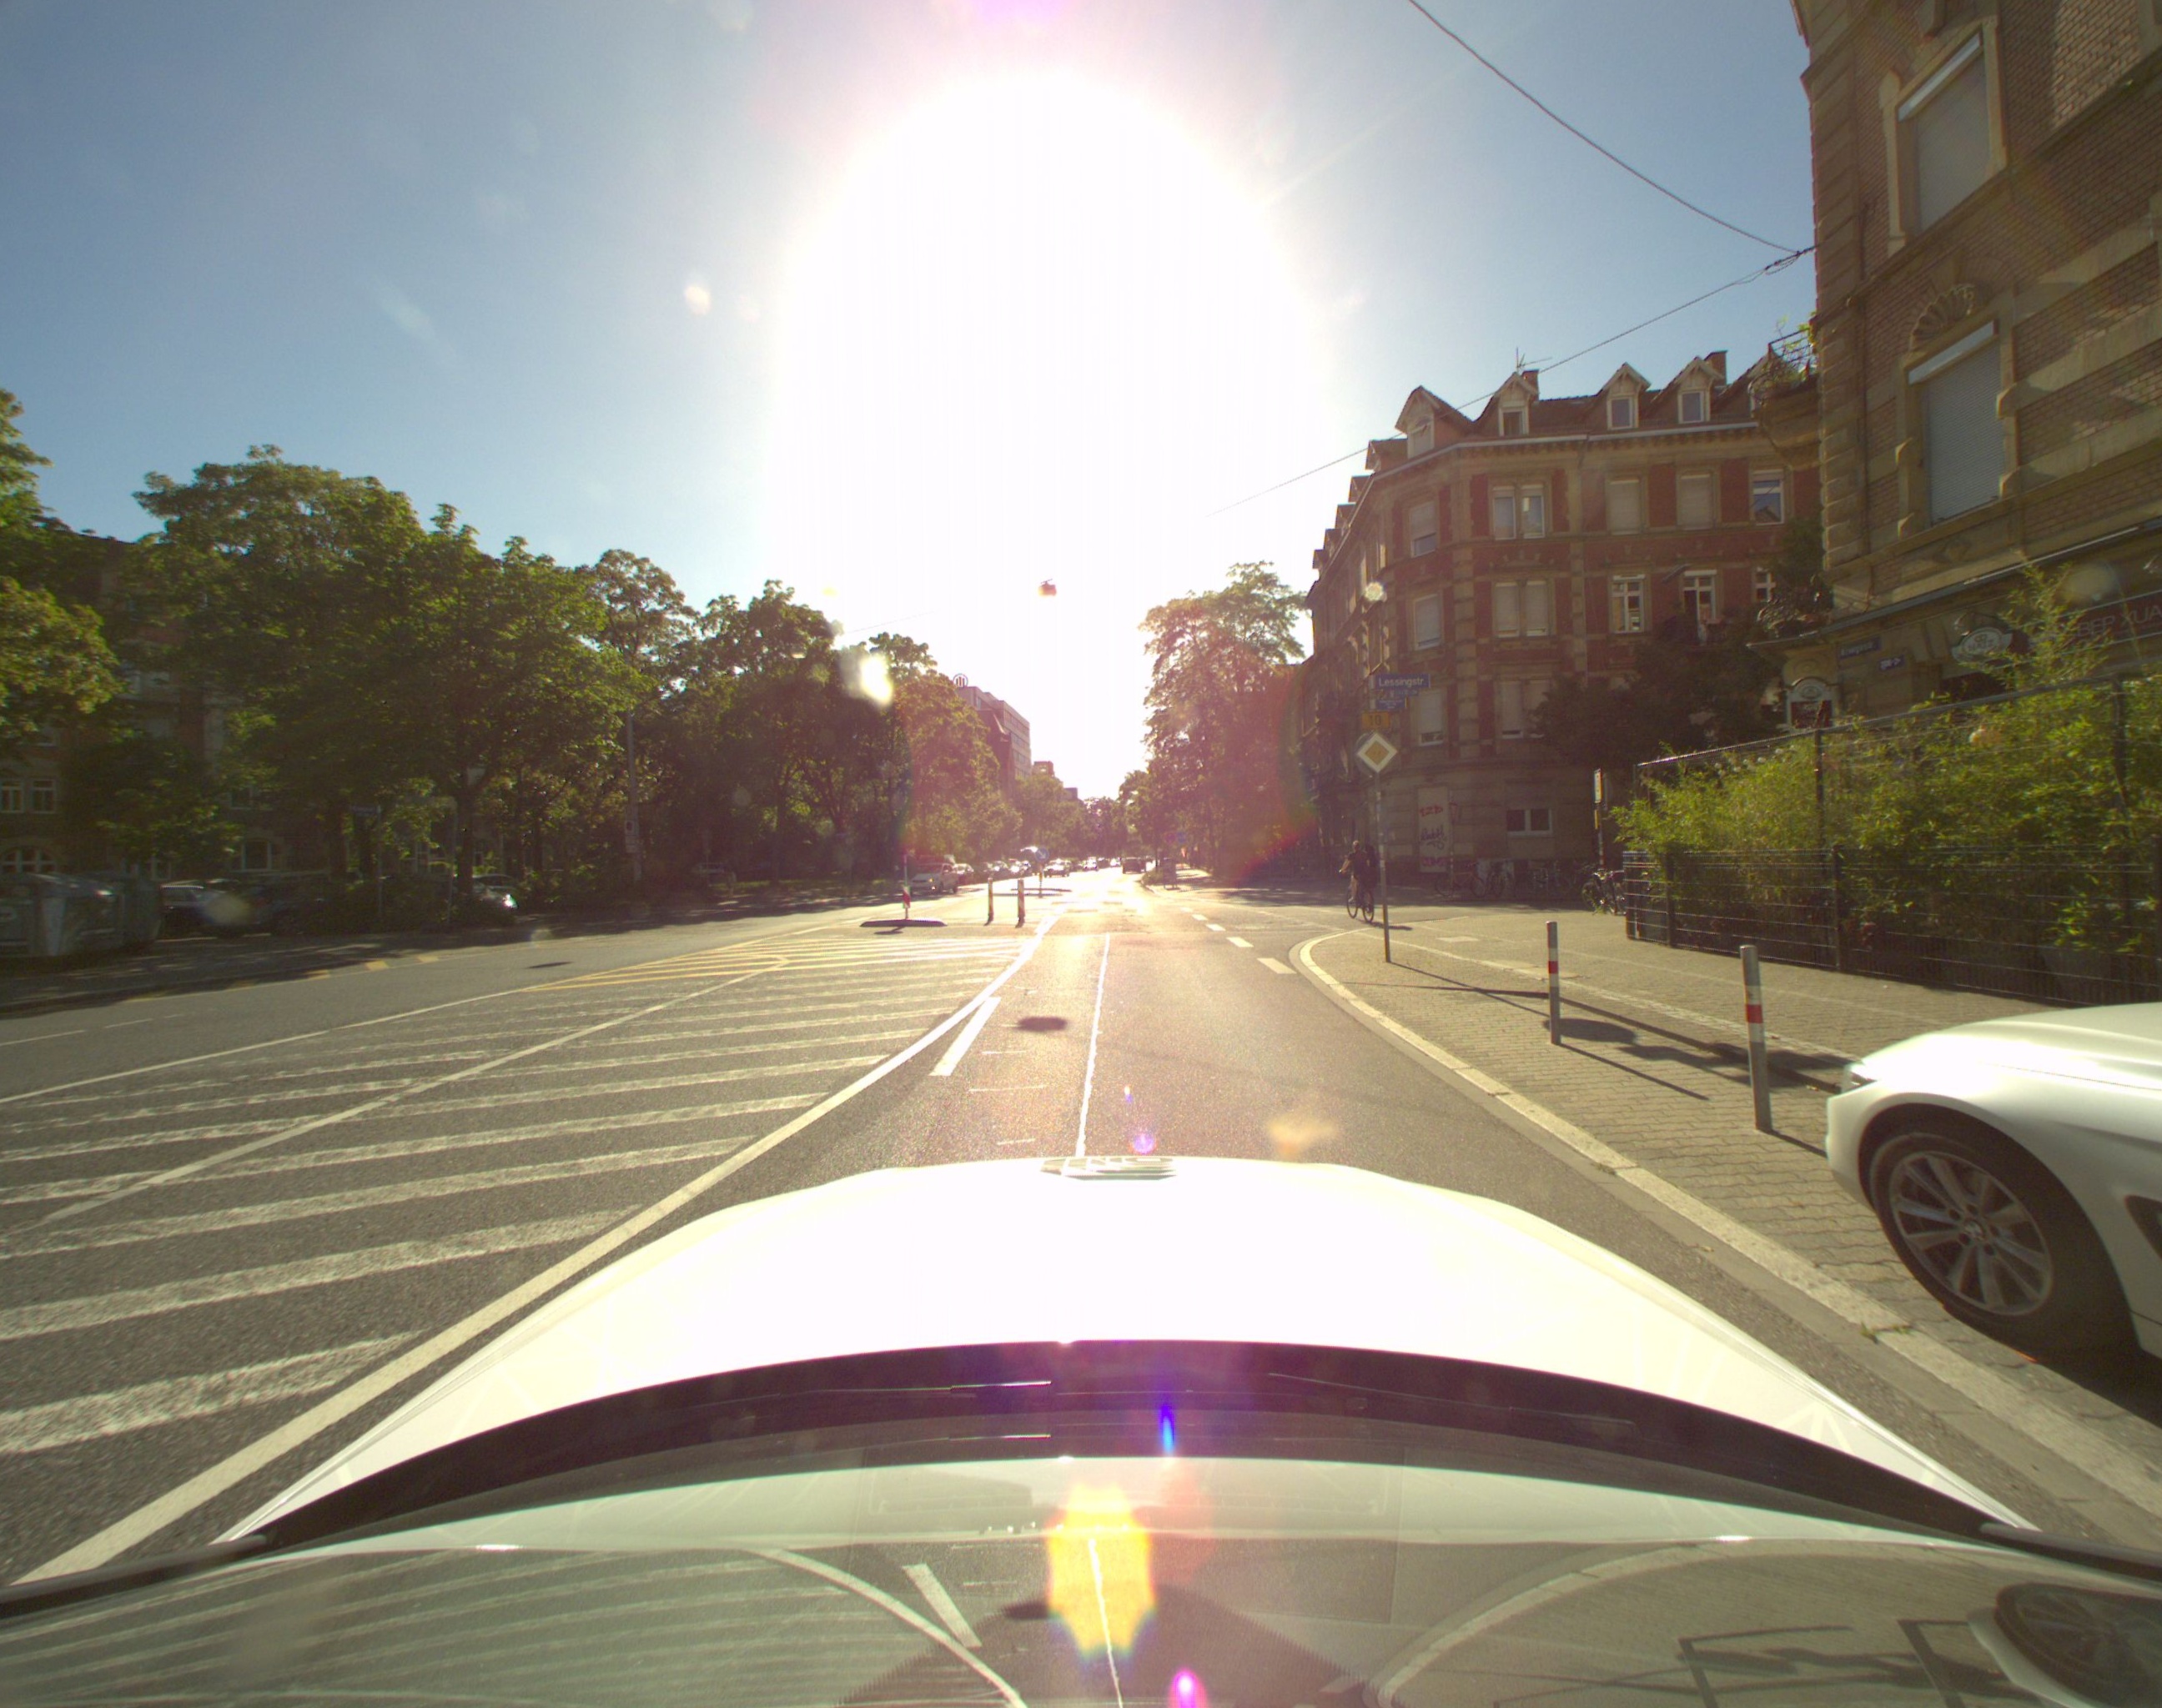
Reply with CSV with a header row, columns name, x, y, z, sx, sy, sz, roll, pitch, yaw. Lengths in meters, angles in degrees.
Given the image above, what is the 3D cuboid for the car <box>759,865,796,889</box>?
name,x,y,z,sx,sy,sz,roll,pitch,yaw
car,-22.373,1.663,60.012,1.987,1.662,3.963,-2,0,-29

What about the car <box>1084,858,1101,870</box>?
name,x,y,z,sx,sy,sz,roll,pitch,yaw
car,1.437,1.256,104.397,1.629,1.519,4.040,-1,0,8

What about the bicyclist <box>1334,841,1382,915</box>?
name,x,y,z,sx,sy,sz,roll,pitch,yaw
bicyclist,6.131,0.514,18.065,0.738,1.580,1.101,0,1,2

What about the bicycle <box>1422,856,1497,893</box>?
name,x,y,z,sx,sy,sz,roll,pitch,yaw
bicycle,11.663,0.632,25.158,0.699,1.095,1.947,-1,-1,-42

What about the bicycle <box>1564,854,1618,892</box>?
name,x,y,z,sx,sy,sz,roll,pitch,yaw
bicycle,15.767,0.574,25.225,0.557,1.131,2.036,-1,0,6

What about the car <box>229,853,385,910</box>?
name,x,y,z,sx,sy,sz,roll,pitch,yaw
car,-33.800,1.284,35.809,1.838,2.324,4.985,0,-4,2

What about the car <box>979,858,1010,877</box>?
name,x,y,z,sx,sy,sz,roll,pitch,yaw
car,-6.922,1.054,65.765,1.514,1.432,3.564,-1,0,10

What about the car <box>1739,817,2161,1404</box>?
name,x,y,z,sx,sy,sz,roll,pitch,yaw
car,3.524,0.631,1.212,1.703,1.425,4.207,-4,0,2

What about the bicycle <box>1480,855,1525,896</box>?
name,x,y,z,sx,sy,sz,roll,pitch,yaw
bicycle,13.020,0.640,25.222,0.575,1.094,1.976,0,3,7

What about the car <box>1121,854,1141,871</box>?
name,x,y,z,sx,sy,sz,roll,pitch,yaw
car,4.880,0.842,79.658,1.887,1.519,4.002,1,1,2

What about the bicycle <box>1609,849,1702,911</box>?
name,x,y,z,sx,sy,sz,roll,pitch,yaw
bicycle,12.210,0.523,17.400,0.576,1.235,2.069,-1,0,3

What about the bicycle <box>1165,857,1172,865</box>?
name,x,y,z,sx,sy,sz,roll,pitch,yaw
bicycle,10.298,0.856,95.714,0.672,0.938,2.282,-2,-2,2

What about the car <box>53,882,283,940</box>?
name,x,y,z,sx,sy,sz,roll,pitch,yaw
car,-25.508,1.575,23.011,1.839,1.491,4.000,0,-3,2

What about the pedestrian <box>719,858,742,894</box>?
name,x,y,z,sx,sy,sz,roll,pitch,yaw
pedestrian,-15.957,1.008,37.086,0.662,1.626,0.720,-1,0,34

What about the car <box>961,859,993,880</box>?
name,x,y,z,sx,sy,sz,roll,pitch,yaw
car,-7.659,1.143,60.254,1.515,1.433,3.344,-1,-3,8

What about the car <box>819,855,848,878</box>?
name,x,y,z,sx,sy,sz,roll,pitch,yaw
car,-19.144,0.948,62.924,1.981,1.662,3.974,-1,0,-19

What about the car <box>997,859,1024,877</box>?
name,x,y,z,sx,sy,sz,roll,pitch,yaw
car,-6.022,1.162,69.830,1.515,1.432,3.345,-1,0,8

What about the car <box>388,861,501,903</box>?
name,x,y,z,sx,sy,sz,roll,pitch,yaw
car,-28.545,1.219,36.687,1.839,1.654,4.002,0,1,1

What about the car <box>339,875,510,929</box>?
name,x,y,z,sx,sy,sz,roll,pitch,yaw
car,-20.572,1.504,25.622,3.966,1.469,1.815,-1,3,6

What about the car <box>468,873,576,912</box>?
name,x,y,z,sx,sy,sz,roll,pitch,yaw
car,-24.566,1.710,35.972,1.839,1.654,4.000,0,-3,2

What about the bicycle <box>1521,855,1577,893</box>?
name,x,y,z,sx,sy,sz,roll,pitch,yaw
bicycle,14.531,0.592,25.357,0.723,1.131,2.036,-1,0,6

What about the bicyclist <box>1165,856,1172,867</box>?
name,x,y,z,sx,sy,sz,roll,pitch,yaw
bicyclist,10.295,0.894,95.802,0.678,1.327,0.636,0,-3,1

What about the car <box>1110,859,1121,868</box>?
name,x,y,z,sx,sy,sz,roll,pitch,yaw
car,6.075,1.647,142.064,1.927,1.519,4.031,0,-3,2

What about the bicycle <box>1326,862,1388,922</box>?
name,x,y,z,sx,sy,sz,roll,pitch,yaw
bicycle,6.090,0.806,18.092,0.738,1.219,1.961,-3,0,3

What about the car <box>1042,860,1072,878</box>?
name,x,y,z,sx,sy,sz,roll,pitch,yaw
car,-2.038,1.282,70.625,1.774,1.460,4.425,-1,-1,8

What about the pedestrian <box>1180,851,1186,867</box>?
name,x,y,z,sx,sy,sz,roll,pitch,yaw
pedestrian,12.279,0.599,98.141,0.612,2.013,0.681,-1,0,1

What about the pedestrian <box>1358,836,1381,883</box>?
name,x,y,z,sx,sy,sz,roll,pitch,yaw
pedestrian,11.219,0.217,31.733,0.652,1.816,0.752,-1,-3,6

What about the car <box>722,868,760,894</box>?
name,x,y,z,sx,sy,sz,roll,pitch,yaw
car,-24.556,1.914,58.746,1.988,1.662,3.961,-2,0,-30

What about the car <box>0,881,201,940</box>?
name,x,y,z,sx,sy,sz,roll,pitch,yaw
car,-27.828,1.550,22.829,1.839,1.491,4.000,0,-3,2

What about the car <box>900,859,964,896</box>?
name,x,y,z,sx,sy,sz,roll,pitch,yaw
car,-7.032,1.087,38.826,1.748,1.519,3.869,-3,0,8

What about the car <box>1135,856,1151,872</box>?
name,x,y,z,sx,sy,sz,roll,pitch,yaw
car,7.477,1.183,97.693,1.810,1.740,4.006,-1,0,5

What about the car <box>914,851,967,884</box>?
name,x,y,z,sx,sy,sz,roll,pitch,yaw
car,-8.727,0.809,51.157,2.189,1.929,4.866,-1,0,3

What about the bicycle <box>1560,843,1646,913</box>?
name,x,y,z,sx,sy,sz,roll,pitch,yaw
bicycle,11.121,0.485,17.432,0.576,1.397,2.069,-1,0,3

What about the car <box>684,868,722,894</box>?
name,x,y,z,sx,sy,sz,roll,pitch,yaw
car,-26.861,1.888,57.858,1.988,1.662,3.960,-2,0,-32
